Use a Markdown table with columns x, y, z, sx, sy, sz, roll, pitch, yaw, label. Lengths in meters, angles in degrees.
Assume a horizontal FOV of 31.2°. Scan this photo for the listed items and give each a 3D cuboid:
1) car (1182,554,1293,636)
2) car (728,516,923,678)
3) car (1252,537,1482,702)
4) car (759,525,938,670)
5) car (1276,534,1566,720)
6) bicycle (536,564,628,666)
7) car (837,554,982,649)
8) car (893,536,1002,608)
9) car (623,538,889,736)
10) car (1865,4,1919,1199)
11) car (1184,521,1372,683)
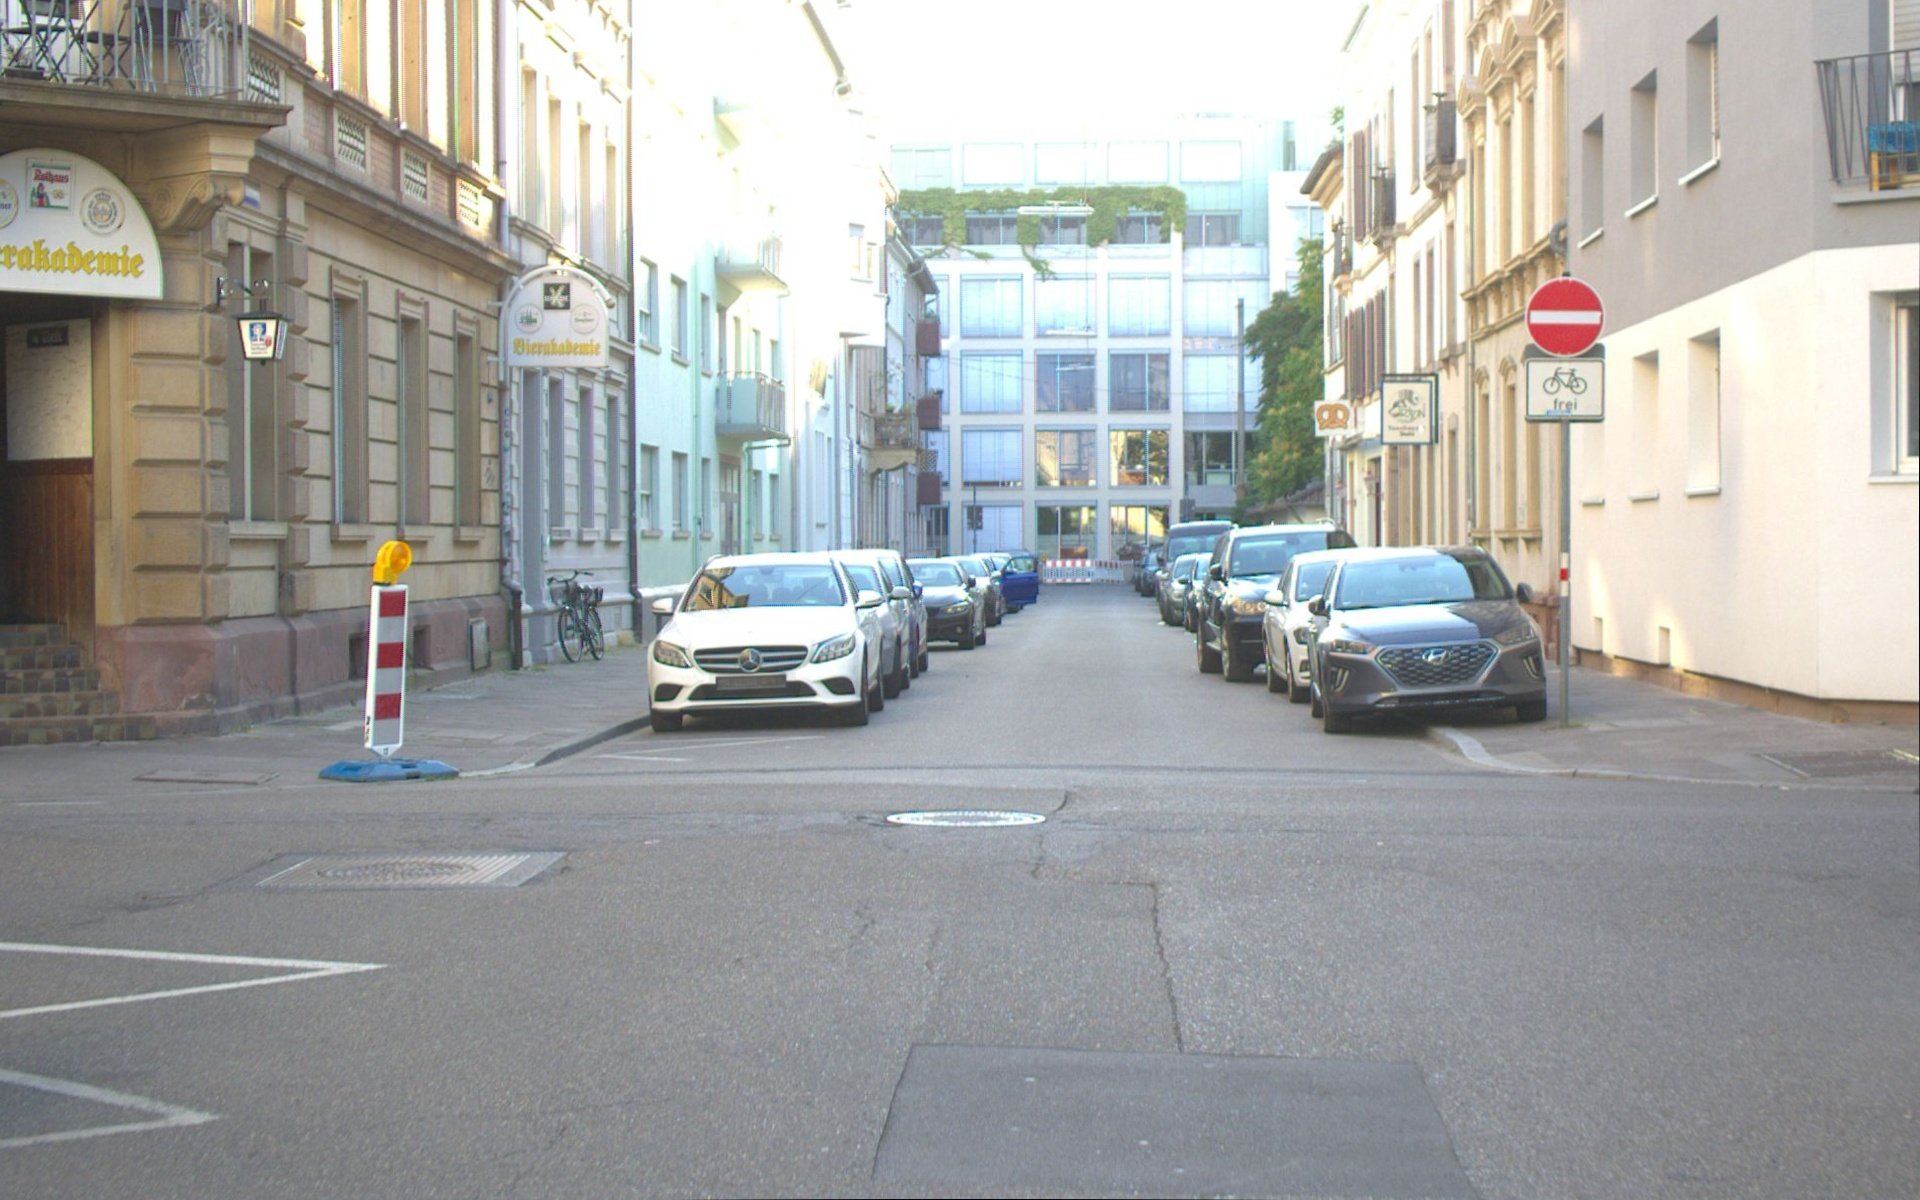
| x | y | z | sx | sy | sz | roll | pitch | yaw | label |
| --- | --- | --- | --- | --- | --- | --- | --- | --- | --- |
| 5.224 | -0.121 | 65.089 | 1.994 | 1.446 | 4.000 | 1 | 1 | 3 | car |
| -1.337 | -0.071 | 35.480 | 1.625 | 1.571 | 3.754 | 0 | 1 | 4 | car |
| 4.021 | 0.147 | 34.560 | 1.963 | 1.552 | 3.889 | 0 | 1 | 2 | car |
| -1.289 | -0.072 | 41.225 | 1.785 | 1.653 | 3.816 | 0 | 1 | 4 | car |
| 3.739 | 0.173 | 28.495 | 1.938 | 1.367 | 3.789 | -2 | 1 | 1 | car |
| -4.535 | 0.160 | 41.380 | 0.737 | 1.156 | 2.461 | 1 | 1 | 2 | bicycle |
| -0.727 | -0.009 | 52.594 | 1.993 | 1.350 | 4.429 | 0 | 1 | 2 | car |
| -0.237 | -0.598 | 70.493 | 2.173 | 1.413 | 4.000 | 0 | 1 | 0 | car |
| -1.679 | 0.255 | 29.742 | 1.993 | 1.559 | 4.506 | 0 | 1 | 1 | car |
| 2.834 | 0.125 | 3.957 | 2.277 | 2.431 | 6.203 | 0 | 1 | 3 | car |
| 3.644 | -0.023 | 40.000 | 1.893 | 1.778 | 4.000 | 0 | 1 | 1 | car |
